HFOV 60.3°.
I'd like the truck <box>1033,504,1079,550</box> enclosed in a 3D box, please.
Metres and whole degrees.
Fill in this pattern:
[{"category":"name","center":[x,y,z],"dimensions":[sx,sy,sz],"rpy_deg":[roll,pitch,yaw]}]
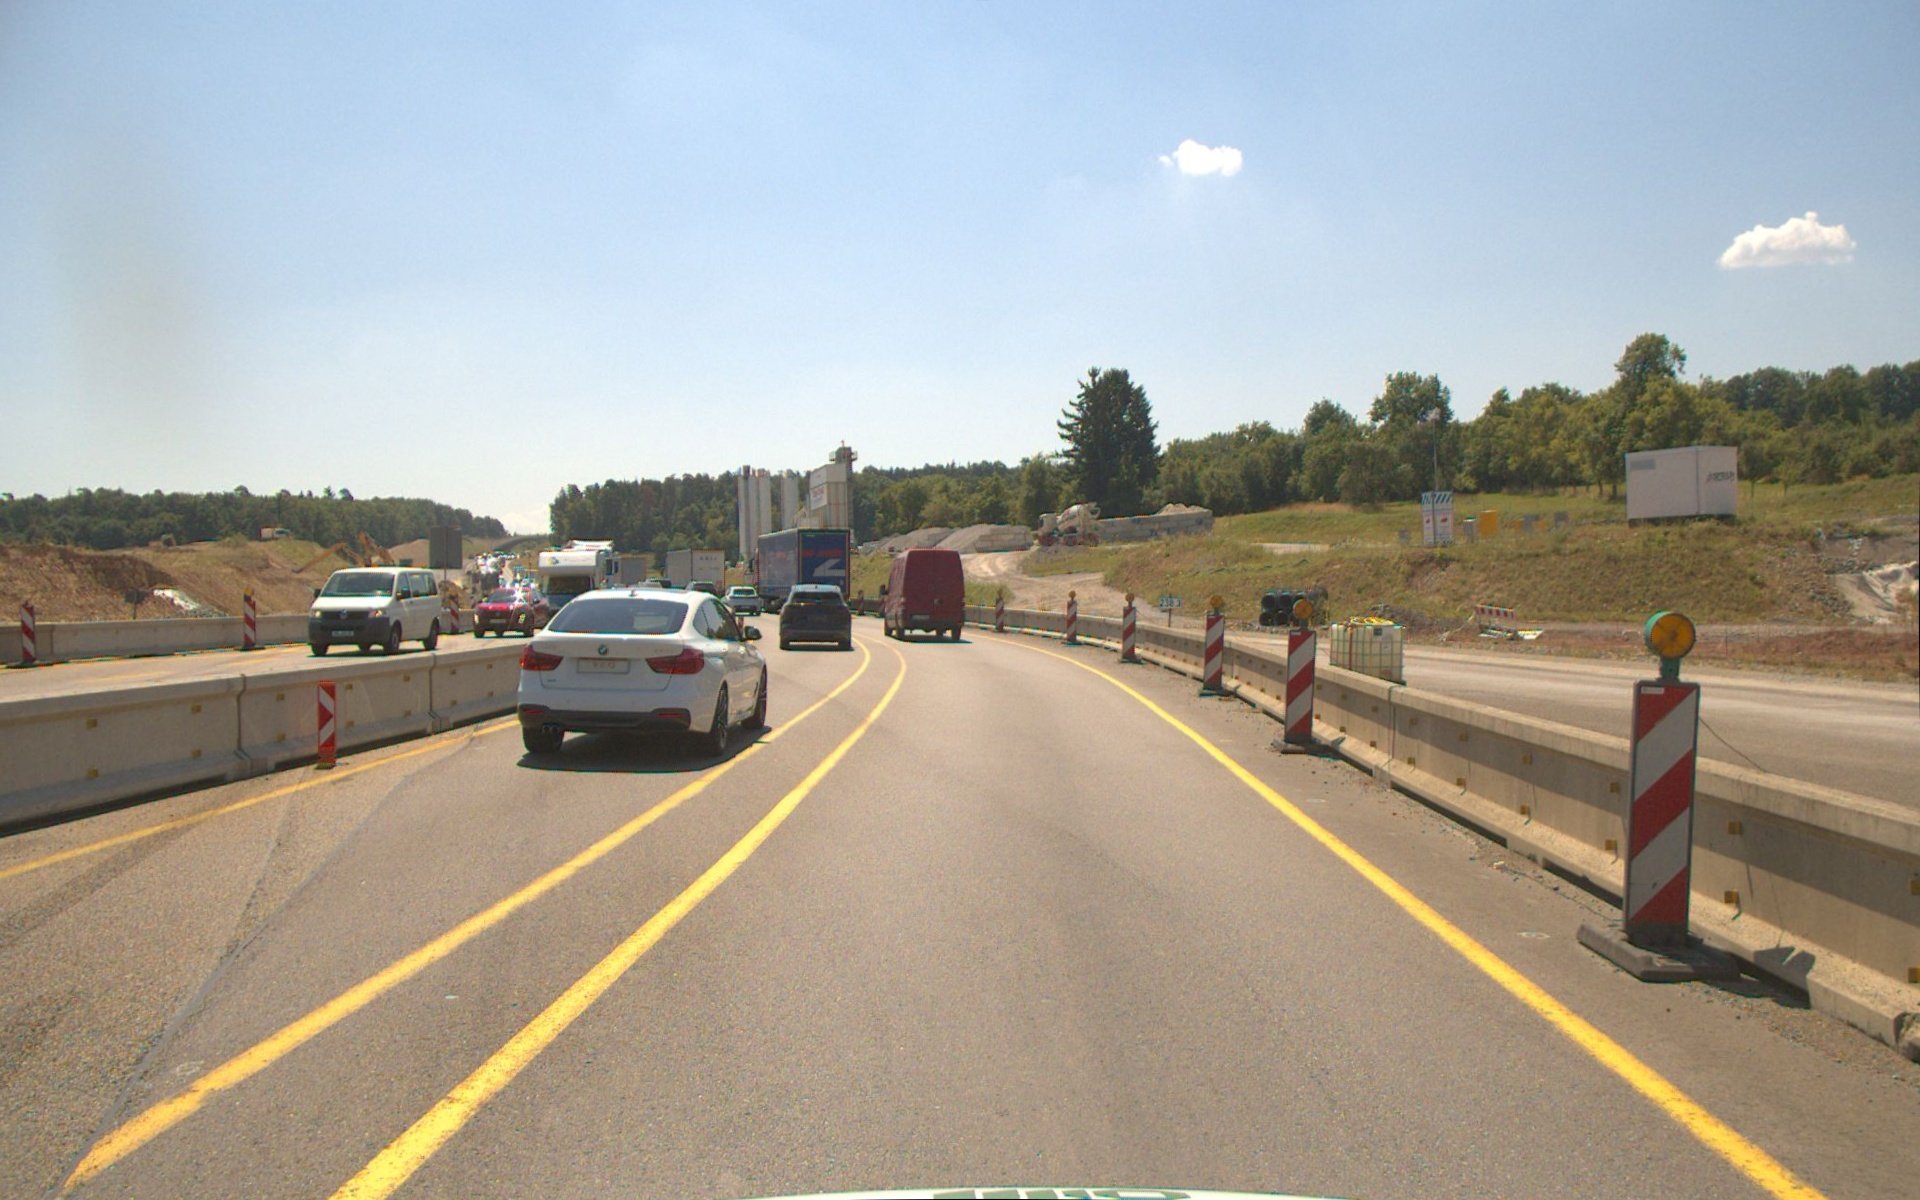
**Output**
[{"category":"truck","center":[8.956,-6.784,154.598],"dimensions":[2.712,4.167,4.066],"rpy_deg":[-1,1,-26]}]

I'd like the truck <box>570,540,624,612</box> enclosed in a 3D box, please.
[{"category":"truck","center":[-21.630,-1.450,98.708],"dimensions":[2.651,4.132,5.491],"rpy_deg":[-1,1,-8]}]

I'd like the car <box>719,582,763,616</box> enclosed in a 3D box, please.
[{"category":"car","center":[-10.973,-0.070,82.664],"dimensions":[1.771,1.607,3.986],"rpy_deg":[-1,1,-14]}]

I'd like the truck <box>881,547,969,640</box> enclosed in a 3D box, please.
[{"category":"truck","center":[-1.164,-0.237,51.274],"dimensions":[2.071,2.679,6.474],"rpy_deg":[-1,1,-7]}]

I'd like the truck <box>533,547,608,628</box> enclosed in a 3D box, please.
[{"category":"truck","center":[-16.143,-0.548,68.909],"dimensions":[2.396,3.125,7.233],"rpy_deg":[-1,1,-9]}]

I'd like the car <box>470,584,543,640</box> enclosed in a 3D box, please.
[{"category":"car","center":[-14.378,0.329,52.608],"dimensions":[1.688,1.656,4.327],"rpy_deg":[-1,1,-9]}]

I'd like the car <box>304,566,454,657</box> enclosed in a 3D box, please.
[{"category":"car","center":[-13.630,0.210,39.115],"dimensions":[1.828,1.987,4.892],"rpy_deg":[-1,1,-1]}]

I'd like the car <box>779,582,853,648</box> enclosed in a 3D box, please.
[{"category":"car","center":[-3.650,0.339,42.395],"dimensions":[1.759,1.561,3.928],"rpy_deg":[-1,1,-4]}]

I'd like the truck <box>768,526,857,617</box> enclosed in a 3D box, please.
[{"category":"truck","center":[-7.382,-1.399,81.597],"dimensions":[2.966,4.225,8.239],"rpy_deg":[-1,1,-15]}]

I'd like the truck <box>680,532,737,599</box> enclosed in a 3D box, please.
[{"category":"truck","center":[-19.161,-2.588,125.556],"dimensions":[3.619,4.773,9.722],"rpy_deg":[-1,1,-12]}]

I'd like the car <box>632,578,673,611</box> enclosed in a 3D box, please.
[{"category":"car","center":[-16.055,-0.321,86.599],"dimensions":[1.627,1.633,4.392],"rpy_deg":[-1,1,-4]}]

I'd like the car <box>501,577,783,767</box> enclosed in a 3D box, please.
[{"category":"car","center":[-2.964,0.574,16.529],"dimensions":[1.758,1.561,5.074],"rpy_deg":[1,1,1]}]

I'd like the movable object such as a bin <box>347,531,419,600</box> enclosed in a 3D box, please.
[{"category":"movable object such as a bin","center":[-67.141,-4.027,192.663],"dimensions":[7.514,7.848,3.431],"rpy_deg":[-1,1,-16]}]

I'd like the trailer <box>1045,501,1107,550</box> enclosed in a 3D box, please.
[{"category":"trailer","center":[10.572,-6.757,151.228],"dimensions":[2.722,4.186,6.690],"rpy_deg":[-1,1,-26]}]
